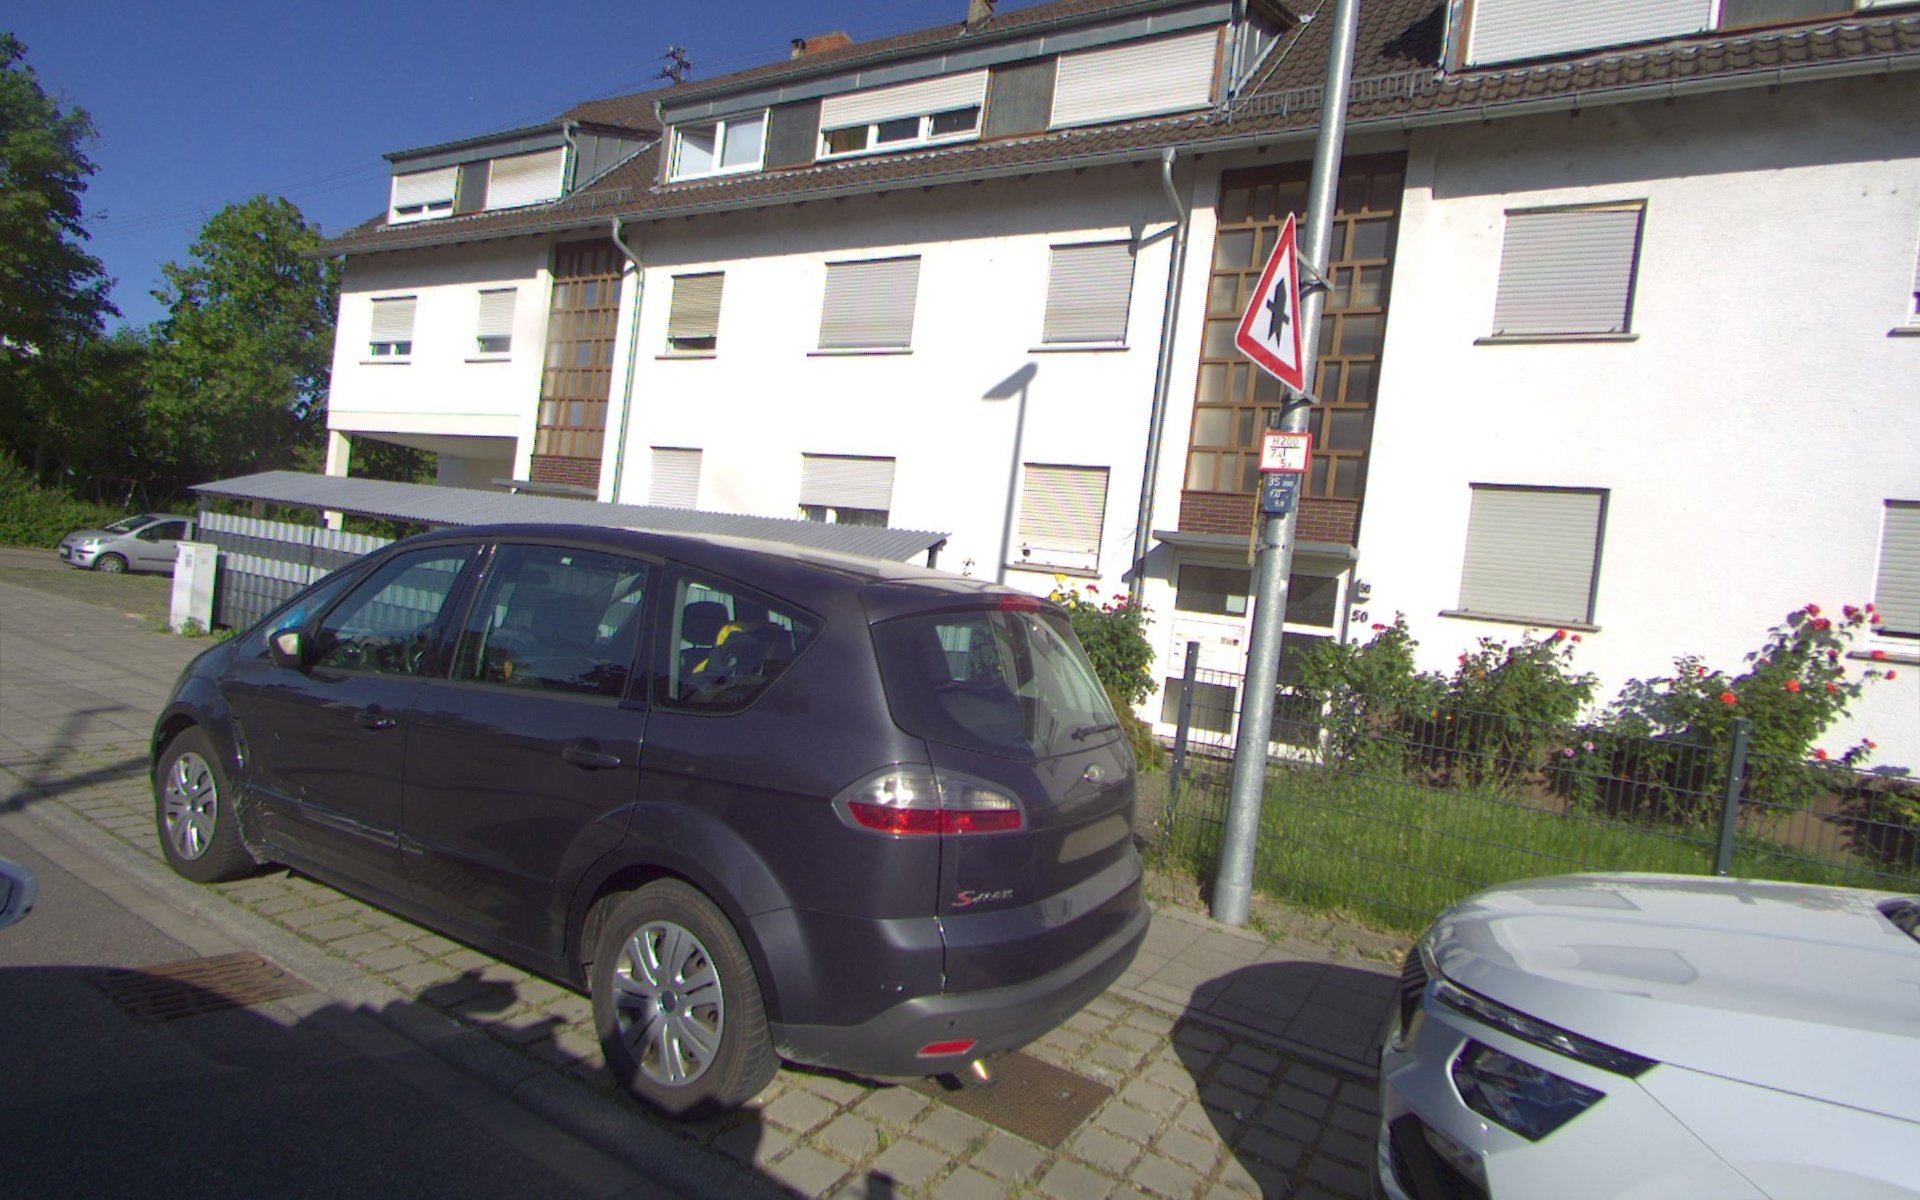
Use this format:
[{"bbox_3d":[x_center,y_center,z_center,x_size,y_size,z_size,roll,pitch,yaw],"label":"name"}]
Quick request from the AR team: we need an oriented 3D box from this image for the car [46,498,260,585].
[{"bbox_3d":[-19.230,-1.345,24.112,1.620,1.549,3.599,6,-1,32],"label":"car"}]

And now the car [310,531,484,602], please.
[{"bbox_3d":[-16.287,-0.925,29.291,1.715,1.515,4.007,7,0,32],"label":"car"}]

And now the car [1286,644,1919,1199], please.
[{"bbox_3d":[2.835,1.099,1.597,4.091,1.511,1.658,7,0,33],"label":"car"}]

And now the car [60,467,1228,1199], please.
[{"bbox_3d":[-1.578,0.514,4.197,4.778,1.650,1.792,7,2,30],"label":"car"}]
